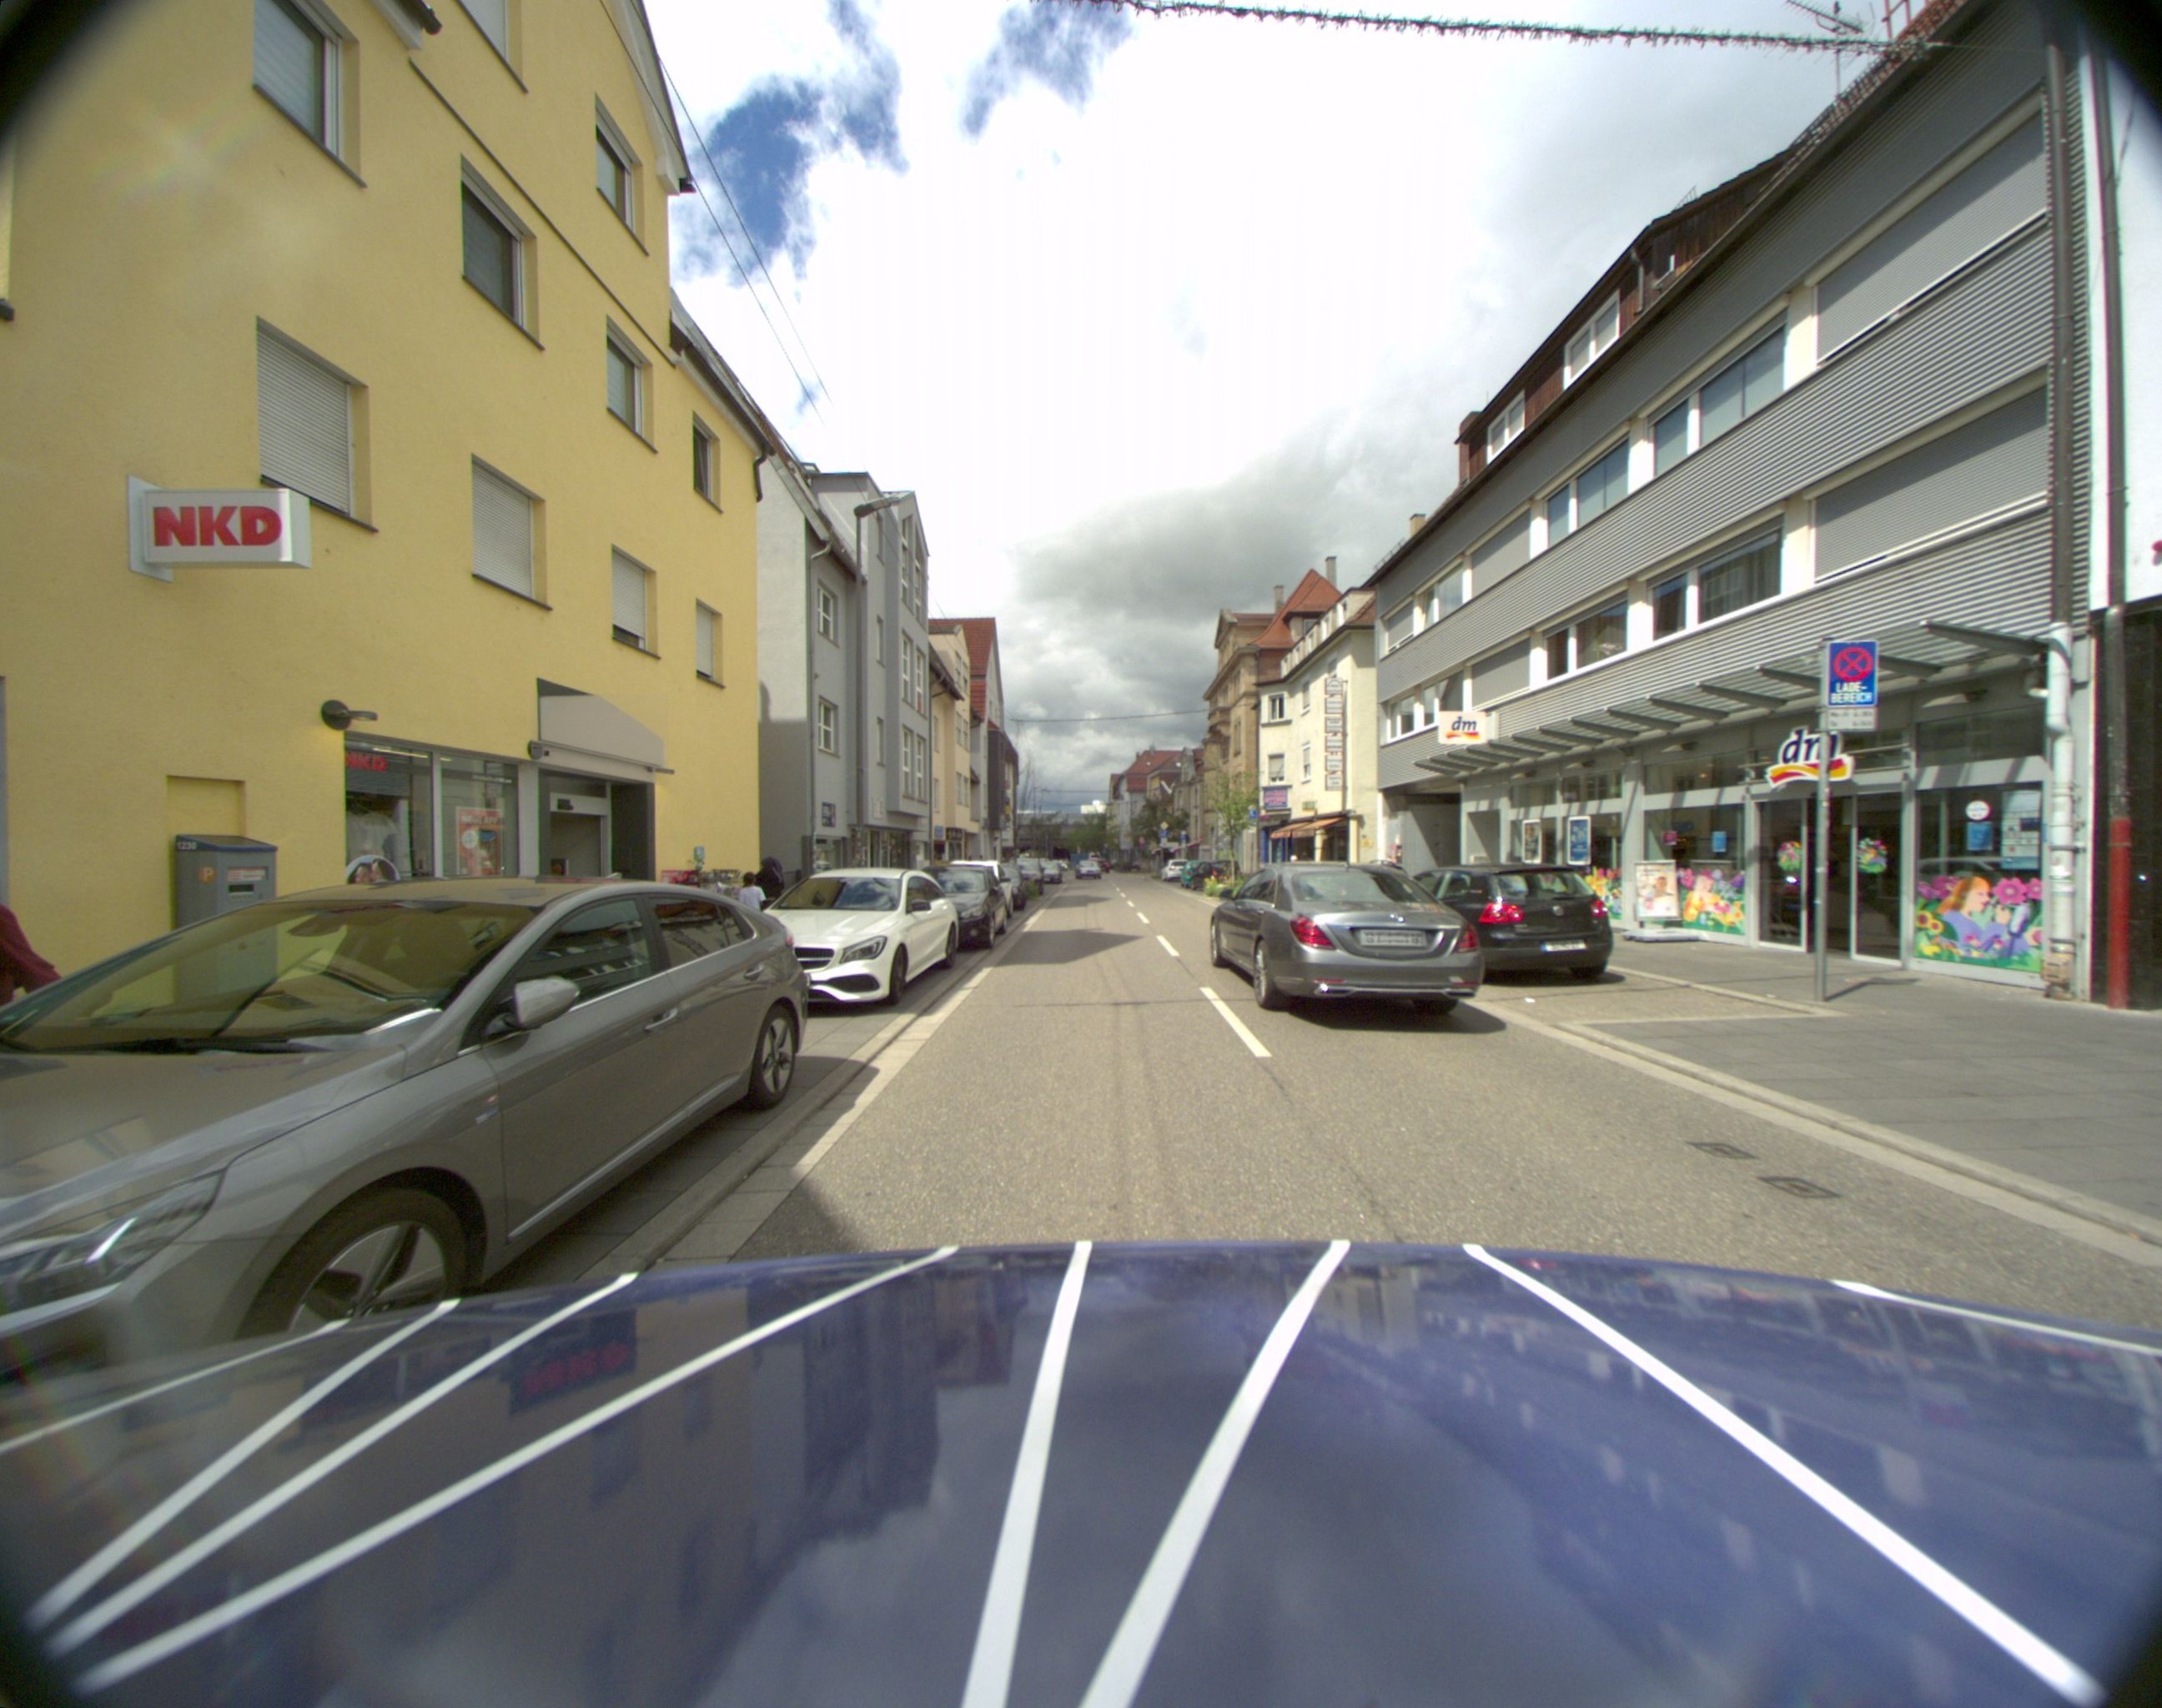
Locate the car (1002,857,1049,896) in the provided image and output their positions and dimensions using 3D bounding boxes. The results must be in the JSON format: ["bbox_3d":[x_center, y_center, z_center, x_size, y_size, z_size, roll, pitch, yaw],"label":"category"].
[{"bbox_3d":[-2.439,0.973,34.164,1.804,1.594,4.203,1,0,-1],"label":"car"}]

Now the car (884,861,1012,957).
[{"bbox_3d":[-2.328,0.930,14.423,1.694,1.463,4.524,-2,-1,-2],"label":"car"}]

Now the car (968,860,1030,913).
[{"bbox_3d":[-2.560,0.976,24.602,1.694,1.432,4.294,2,1,-2],"label":"car"}]

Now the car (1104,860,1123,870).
[{"bbox_3d":[4.304,1.456,101.045,1.723,1.296,4.463,-1,-1,-8],"label":"car"}]

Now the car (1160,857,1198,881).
[{"bbox_3d":[6.529,0.978,51.005,1.850,1.390,4.035,-2,1,-2],"label":"car"}]

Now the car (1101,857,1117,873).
[{"bbox_3d":[2.959,1.109,80.526,1.536,1.521,3.758,-2,1,0],"label":"car"}]

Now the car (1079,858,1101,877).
[{"bbox_3d":[0.772,1.061,61.327,1.724,1.517,3.598,-1,0,1],"label":"car"}]

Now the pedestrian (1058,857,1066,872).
[{"bbox_3d":[-1.995,1.085,79.365,0.584,1.590,0.549,-2,1,18],"label":"pedestrian"}]

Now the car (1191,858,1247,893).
[{"bbox_3d":[6.338,0.967,35.217,1.602,1.437,3.555,-2,0,-6],"label":"car"}]

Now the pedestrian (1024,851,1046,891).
[{"bbox_3d":[-2.248,0.817,36.965,0.978,1.853,0.864,1,1,-1],"label":"pedestrian"}]

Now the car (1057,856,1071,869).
[{"bbox_3d":[-2.165,1.065,99.278,1.804,1.594,4.203,1,0,-1],"label":"car"}]

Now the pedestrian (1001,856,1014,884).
[{"bbox_3d":[-4.583,0.997,47.598,0.745,1.708,0.655,-1,1,0],"label":"pedestrian"}]

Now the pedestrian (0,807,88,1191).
[{"bbox_3d":[-5.461,0.699,3.619,0.589,1.830,0.576,-2,1,1],"label":"pedestrian"}]

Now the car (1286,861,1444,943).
[{"bbox_3d":[6.011,0.931,16.766,1.794,1.504,4.713,-2,0,2],"label":"car"}]

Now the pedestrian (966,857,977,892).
[{"bbox_3d":[-5.550,1.036,38.414,0.437,1.708,0.537,-2,1,-2],"label":"pedestrian"}]

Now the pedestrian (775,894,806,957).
[{"bbox_3d":[-4.759,1.157,12.443,0.350,0.995,0.295,0,1,26],"label":"pedestrian"}]

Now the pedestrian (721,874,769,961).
[{"bbox_3d":[-5.431,1.007,12.285,0.445,1.356,0.539,0,1,17],"label":"pedestrian"}]

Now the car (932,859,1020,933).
[{"bbox_3d":[-2.597,0.990,19.541,1.693,1.565,3.755,-2,1,0],"label":"car"}]

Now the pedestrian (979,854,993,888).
[{"bbox_3d":[-4.808,0.844,38.465,0.537,1.708,0.606,-2,1,-1],"label":"pedestrian"}]

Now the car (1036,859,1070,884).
[{"bbox_3d":[-1.765,1.128,49.428,1.711,1.412,4.319,-2,1,3],"label":"car"}]

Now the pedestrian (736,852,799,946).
[{"bbox_3d":[-5.332,0.744,12.952,0.751,1.544,0.726,0,1,0],"label":"pedestrian"}]

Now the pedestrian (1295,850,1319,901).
[{"bbox_3d":[8.045,0.761,27.031,0.549,1.747,0.728,-2,1,-2],"label":"pedestrian"}]

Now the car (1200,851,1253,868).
[{"bbox_3d":[13.607,0.499,70.991,4.391,1.373,1.997,-3,1,-19],"label":"car"}]

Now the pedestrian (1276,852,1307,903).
[{"bbox_3d":[6.897,0.753,24.913,0.733,1.609,0.651,-2,1,-4],"label":"pedestrian"}]

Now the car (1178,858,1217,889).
[{"bbox_3d":[6.110,0.981,40.062,1.589,1.406,3.668,-2,1,2],"label":"car"}]

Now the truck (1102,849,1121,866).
[{"bbox_3d":[4.463,0.425,111.525,2.112,2.292,6.473,-2,1,-3],"label":"truck"}]

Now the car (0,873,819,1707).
[{"bbox_3d":[-2.743,0.928,3.095,1.725,1.467,4.353,-2,1,1],"label":"car"}]

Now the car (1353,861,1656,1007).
[{"bbox_3d":[5.535,0.918,10.656,1.795,1.495,4.177,-2,1,-2],"label":"car"}]

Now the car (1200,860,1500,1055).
[{"bbox_3d":[2.643,0.899,8.775,1.910,1.554,4.645,-1,1,1],"label":"car"}]

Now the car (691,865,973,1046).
[{"bbox_3d":[-2.629,0.968,9.419,1.634,1.467,4.957,-2,1,2],"label":"car"}]
